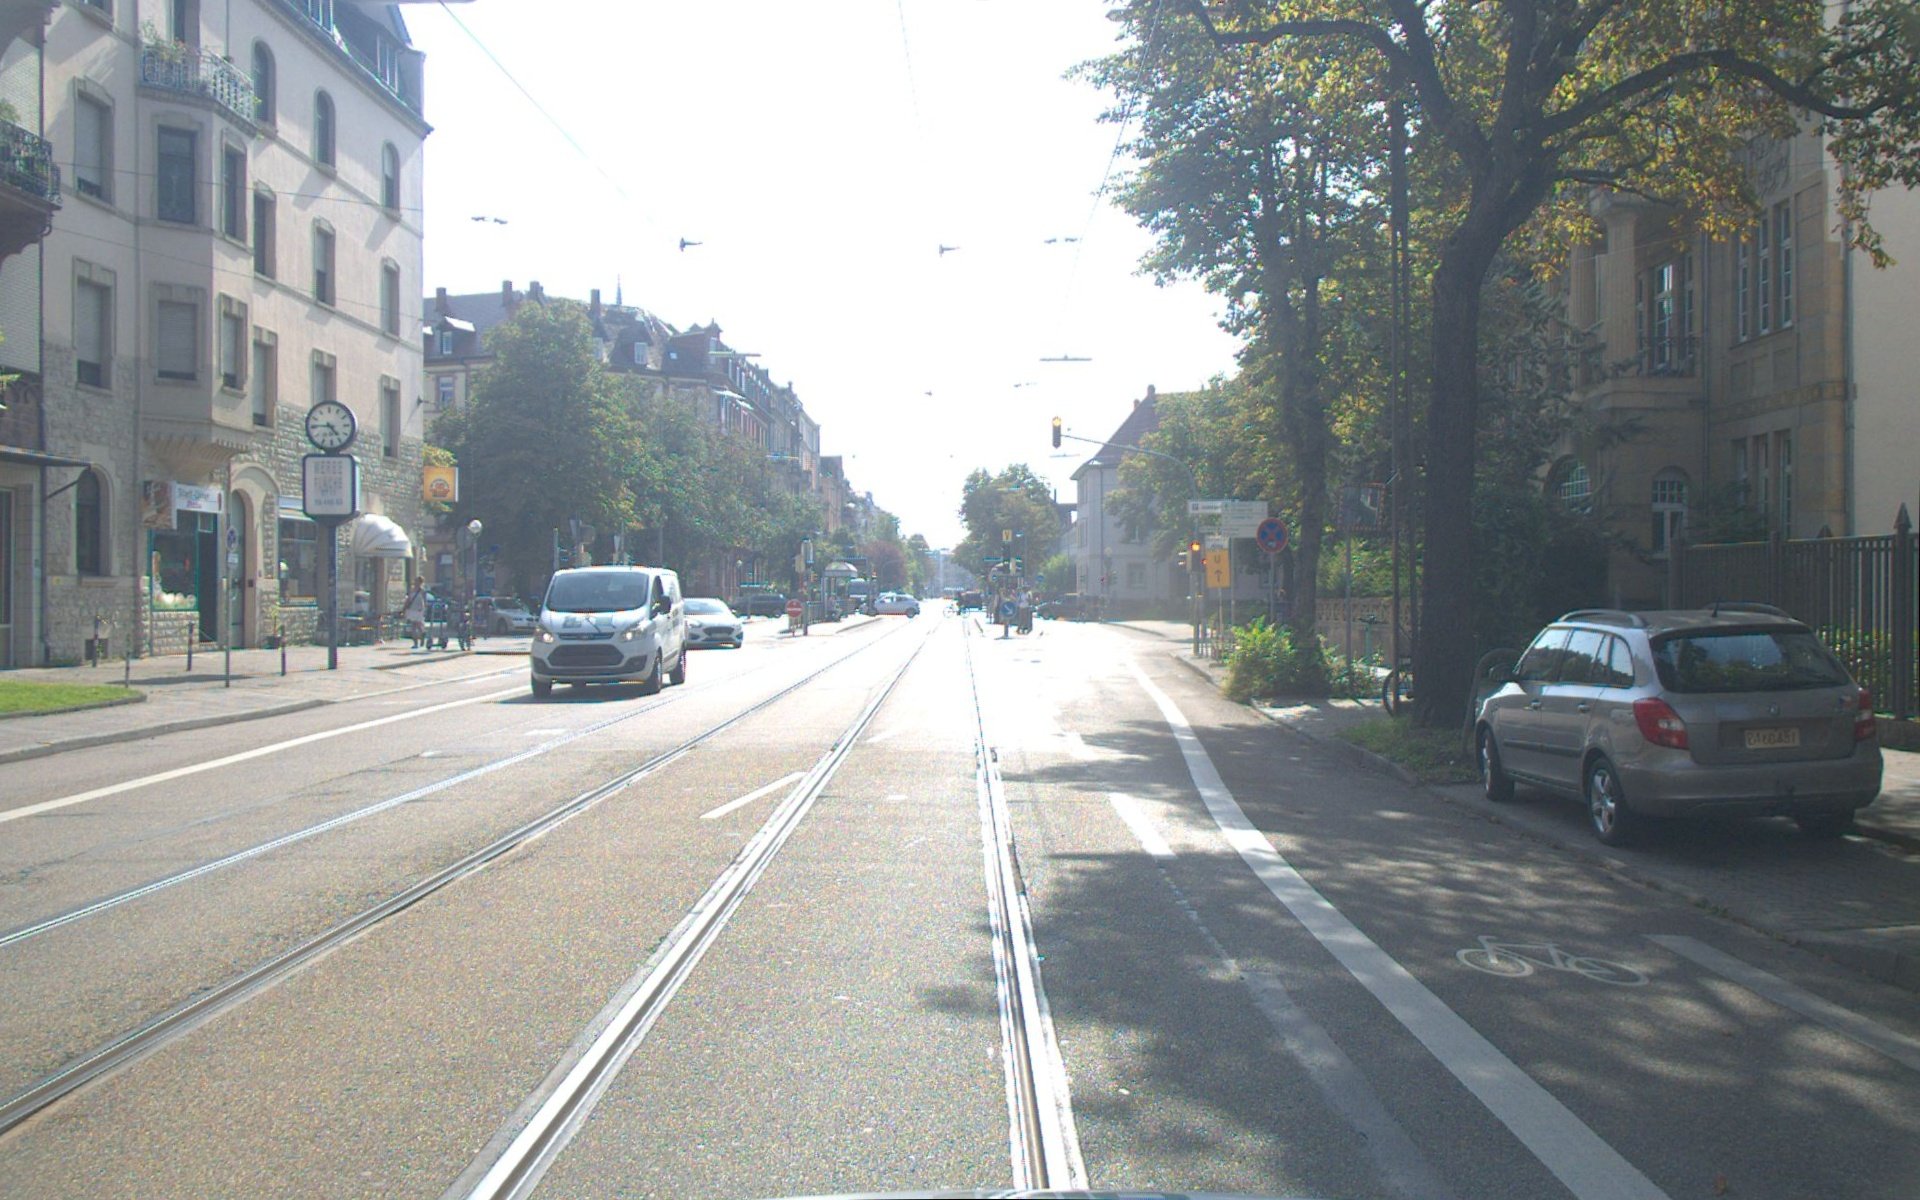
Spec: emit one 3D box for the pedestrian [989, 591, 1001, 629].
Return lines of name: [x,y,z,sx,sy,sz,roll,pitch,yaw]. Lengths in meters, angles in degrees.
pedestrian: [1.678,0.490,79.573,0.521,1.790,0.545,2,2,2]

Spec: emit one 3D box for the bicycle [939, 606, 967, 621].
bicycle: [-0.453,0.858,108.285,1.812,0.975,0.548,0,0,0]

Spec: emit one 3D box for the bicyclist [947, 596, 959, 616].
bicyclist: [-0.464,0.392,108.279,0.802,1.351,0.548,0,0,1]

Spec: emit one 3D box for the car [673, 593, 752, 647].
car: [-7.413,0.573,49.926,1.835,1.480,4.542,-3,0,-3]

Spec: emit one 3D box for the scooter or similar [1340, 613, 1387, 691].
scooter or similar: [6.619,0.838,27.158,0.546,1.218,1.035,-3,-1,5]

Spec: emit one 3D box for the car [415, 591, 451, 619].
car: [-28.586,0.265,89.829,1.835,1.492,4.763,0,0,-17]

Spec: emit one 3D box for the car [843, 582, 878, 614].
car: [-8.463,-0.167,140.551,2.298,2.708,5.107,0,0,4]

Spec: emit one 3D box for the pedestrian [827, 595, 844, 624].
pedestrian: [-6.122,0.465,81.093,0.811,1.382,0.775,0,0,-4]

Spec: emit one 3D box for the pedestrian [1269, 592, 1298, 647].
pedestrian: [10.479,0.639,53.605,0.736,1.761,0.770,0,0,-8]

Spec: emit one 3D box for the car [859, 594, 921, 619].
car: [-4.483,0.392,106.915,3.883,1.579,2.000,0,0,0]

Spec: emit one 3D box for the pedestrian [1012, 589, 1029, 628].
pedestrian: [2.845,0.389,77.519,0.694,1.790,0.534,2,2,1]

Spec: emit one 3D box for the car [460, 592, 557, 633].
car: [-17.316,0.441,63.320,1.852,1.492,4.718,0,1,-39]

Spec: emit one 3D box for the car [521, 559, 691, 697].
car: [-5.651,0.405,27.025,1.954,2.049,4.856,0,0,-3]

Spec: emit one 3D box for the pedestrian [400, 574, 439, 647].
pedestrian: [-14.171,0.278,43.410,0.758,1.892,0.830,0,0,-2]

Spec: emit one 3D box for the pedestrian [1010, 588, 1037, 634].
pedestrian: [2.468,0.424,64.355,0.687,1.755,0.746,4,3,33]

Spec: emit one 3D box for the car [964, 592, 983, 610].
car: [1.287,0.083,161.075,1.764,1.682,3.643,0,0,1]

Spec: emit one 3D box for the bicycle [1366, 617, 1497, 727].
bicycle: [5.707,0.855,19.963,1.825,1.186,0.497,-3,-4,-40]

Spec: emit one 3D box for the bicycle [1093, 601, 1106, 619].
bicycle: [8.003,0.560,95.129,0.546,0.995,1.856,0,0,-1]

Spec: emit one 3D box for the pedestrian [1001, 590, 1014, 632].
pedestrian: [2.088,0.494,73.331,0.494,1.790,0.534,2,2,1]

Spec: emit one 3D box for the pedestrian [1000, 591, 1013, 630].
pedestrian: [2.211,0.500,78.147,0.532,1.790,0.534,2,2,1]

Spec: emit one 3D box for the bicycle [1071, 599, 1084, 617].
bicycle: [6.815,0.460,95.695,0.616,0.995,1.770,0,0,-1]

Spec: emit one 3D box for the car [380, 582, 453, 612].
car: [-33.397,-0.197,101.675,3.905,1.860,2.000,0,0,22]

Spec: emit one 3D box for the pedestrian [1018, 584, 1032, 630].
pedestrian: [2.682,0.290,68.616,0.494,1.865,0.534,2,2,1]

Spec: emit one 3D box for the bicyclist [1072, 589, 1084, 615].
bicyclist: [6.821,0.122,95.694,0.616,1.534,0.678,0,0,-1]

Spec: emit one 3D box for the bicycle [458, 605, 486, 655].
bicycle: [-12.631,0.753,42.838,0.444,1.248,1.853,0,0,-9]

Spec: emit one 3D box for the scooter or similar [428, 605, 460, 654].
scooter or similar: [-13.200,0.747,42.304,1.017,1.218,0.364,0,0,45]

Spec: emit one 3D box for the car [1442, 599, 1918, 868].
car: [5.029,0.811,12.272,1.574,1.550,4.357,-3,0,0]

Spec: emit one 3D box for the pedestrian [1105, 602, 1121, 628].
pedestrian: [10.527,1.050,113.853,0.873,1.771,0.776,0,0,21]

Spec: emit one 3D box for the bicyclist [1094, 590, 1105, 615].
bicyclist: [7.996,0.127,95.143,0.546,1.441,0.871,0,0,-1]
